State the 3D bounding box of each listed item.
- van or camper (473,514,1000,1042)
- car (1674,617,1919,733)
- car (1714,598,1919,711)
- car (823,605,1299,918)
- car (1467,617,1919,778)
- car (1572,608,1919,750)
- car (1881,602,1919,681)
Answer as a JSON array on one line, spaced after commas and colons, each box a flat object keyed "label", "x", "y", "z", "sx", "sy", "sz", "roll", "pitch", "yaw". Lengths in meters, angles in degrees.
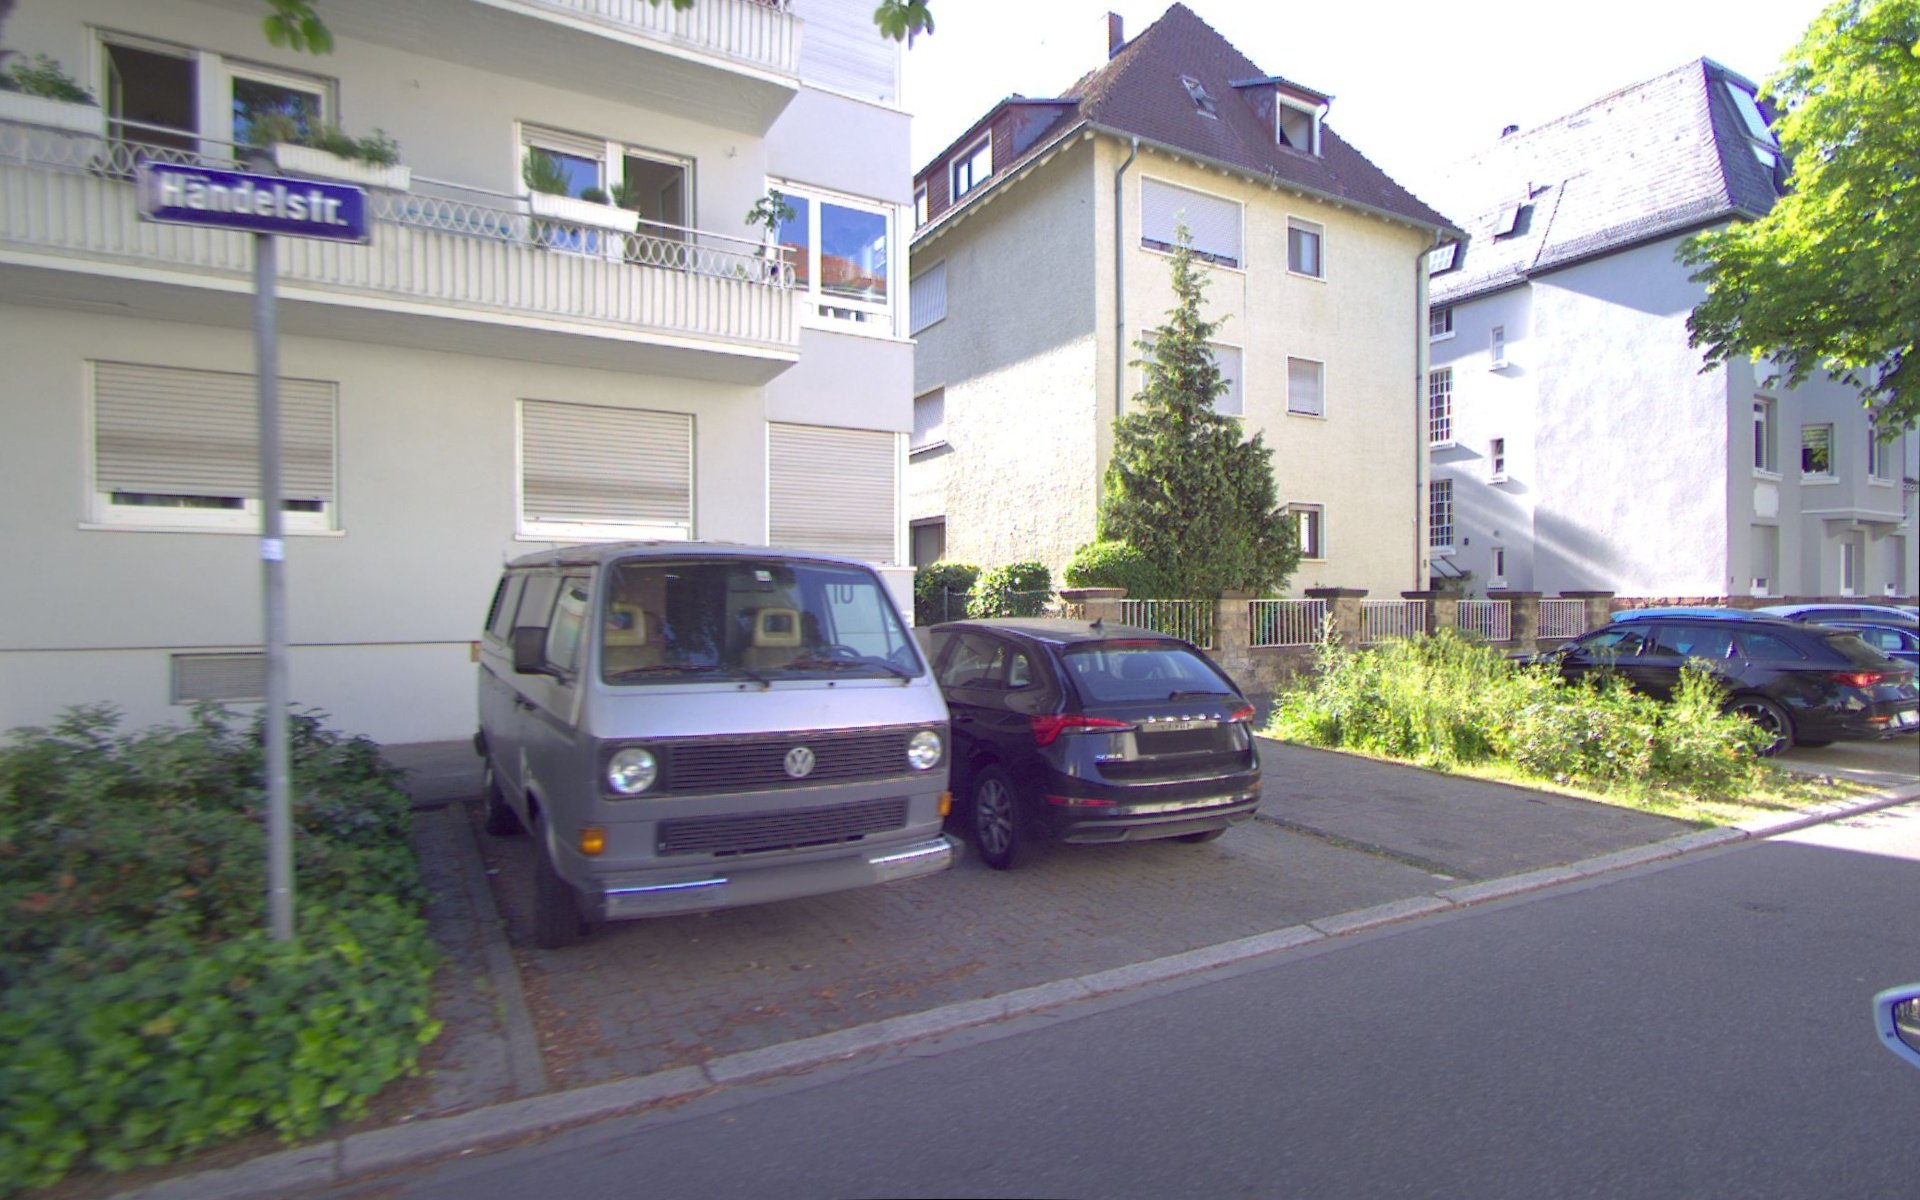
[{"label": "van or camper", "x": -1.749, "y": 0.661, "z": 6.129, "sx": 1.940, "sy": 1.940, "sz": 4.477, "roll": 0, "pitch": 0, "yaw": -29}, {"label": "car", "x": 12.908, "y": 1.013, "z": 14.458, "sx": 1.677, "sy": 1.488, "sz": 3.968, "roll": 0, "pitch": 0, "yaw": -30}, {"label": "car", "x": 15.113, "y": 0.839, "z": 16.194, "sx": 1.800, "sy": 1.674, "sz": 4.369, "roll": -2, "pitch": -1, "yaw": -28}, {"label": "car", "x": 0.430, "y": 0.865, "z": 7.418, "sx": 1.641, "sy": 1.518, "sz": 3.930, "roll": -1, "pitch": 2, "yaw": -27}, {"label": "car", "x": 8.553, "y": 0.980, "z": 11.986, "sx": 1.840, "sy": 1.518, "sz": 4.166, "roll": 0, "pitch": 0, "yaw": -30}, {"label": "car", "x": 10.810, "y": 0.928, "z": 13.560, "sx": 1.857, "sy": 1.613, "sz": 3.967, "roll": 0, "pitch": 0, "yaw": -31}, {"label": "car", "x": 21.220, "y": 0.890, "z": 19.879, "sx": 1.955, "sy": 1.596, "sz": 3.972, "roll": -1, "pitch": 1, "yaw": -27}]
